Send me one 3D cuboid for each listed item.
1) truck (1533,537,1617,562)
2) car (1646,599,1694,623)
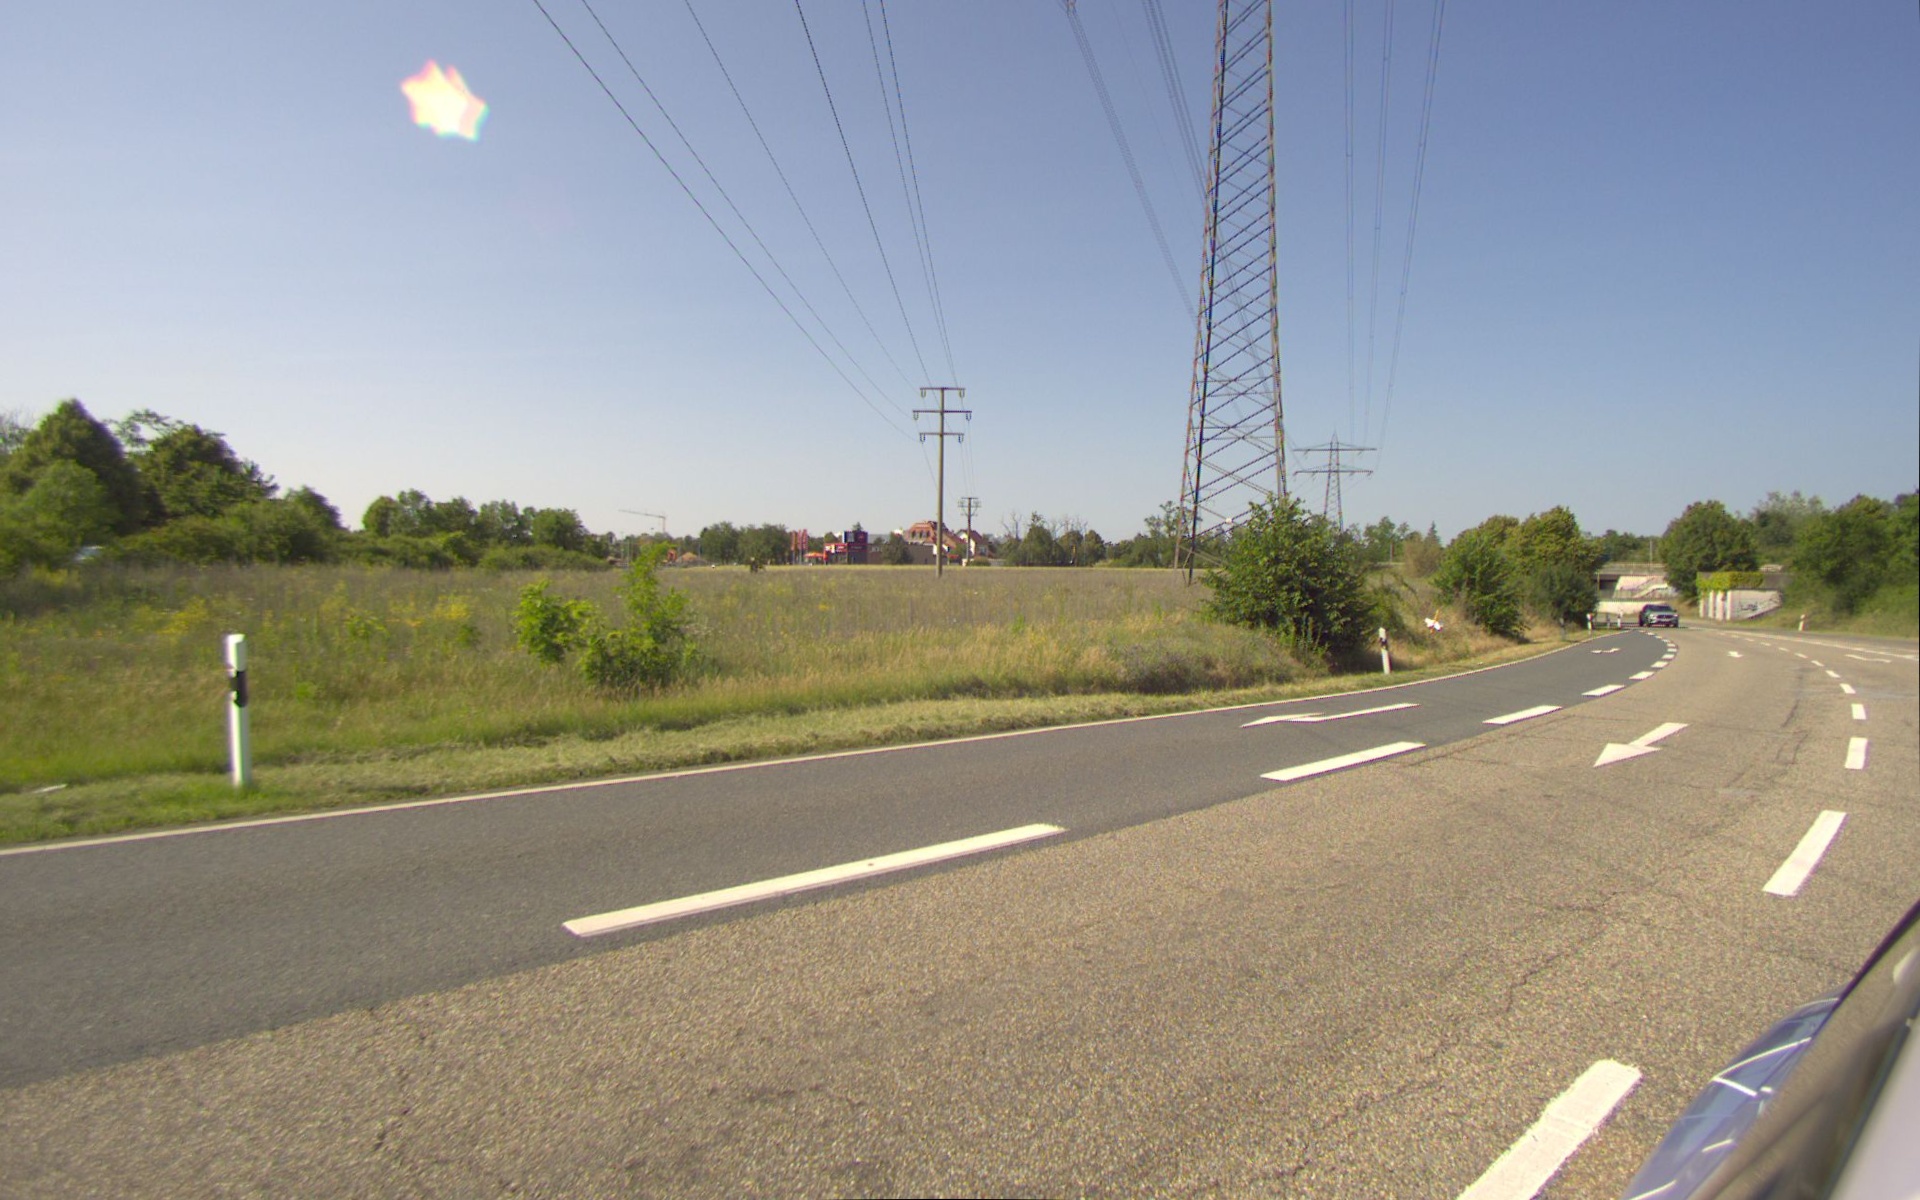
[{"bbox_3d":[90.627,-7.426,149.518,2.117,3.224,11.302,0,0,-25],"label":"truck"},{"bbox_3d":[50.251,0.763,71.670,1.837,1.639,3.624,1,0,20],"label":"car"}]
